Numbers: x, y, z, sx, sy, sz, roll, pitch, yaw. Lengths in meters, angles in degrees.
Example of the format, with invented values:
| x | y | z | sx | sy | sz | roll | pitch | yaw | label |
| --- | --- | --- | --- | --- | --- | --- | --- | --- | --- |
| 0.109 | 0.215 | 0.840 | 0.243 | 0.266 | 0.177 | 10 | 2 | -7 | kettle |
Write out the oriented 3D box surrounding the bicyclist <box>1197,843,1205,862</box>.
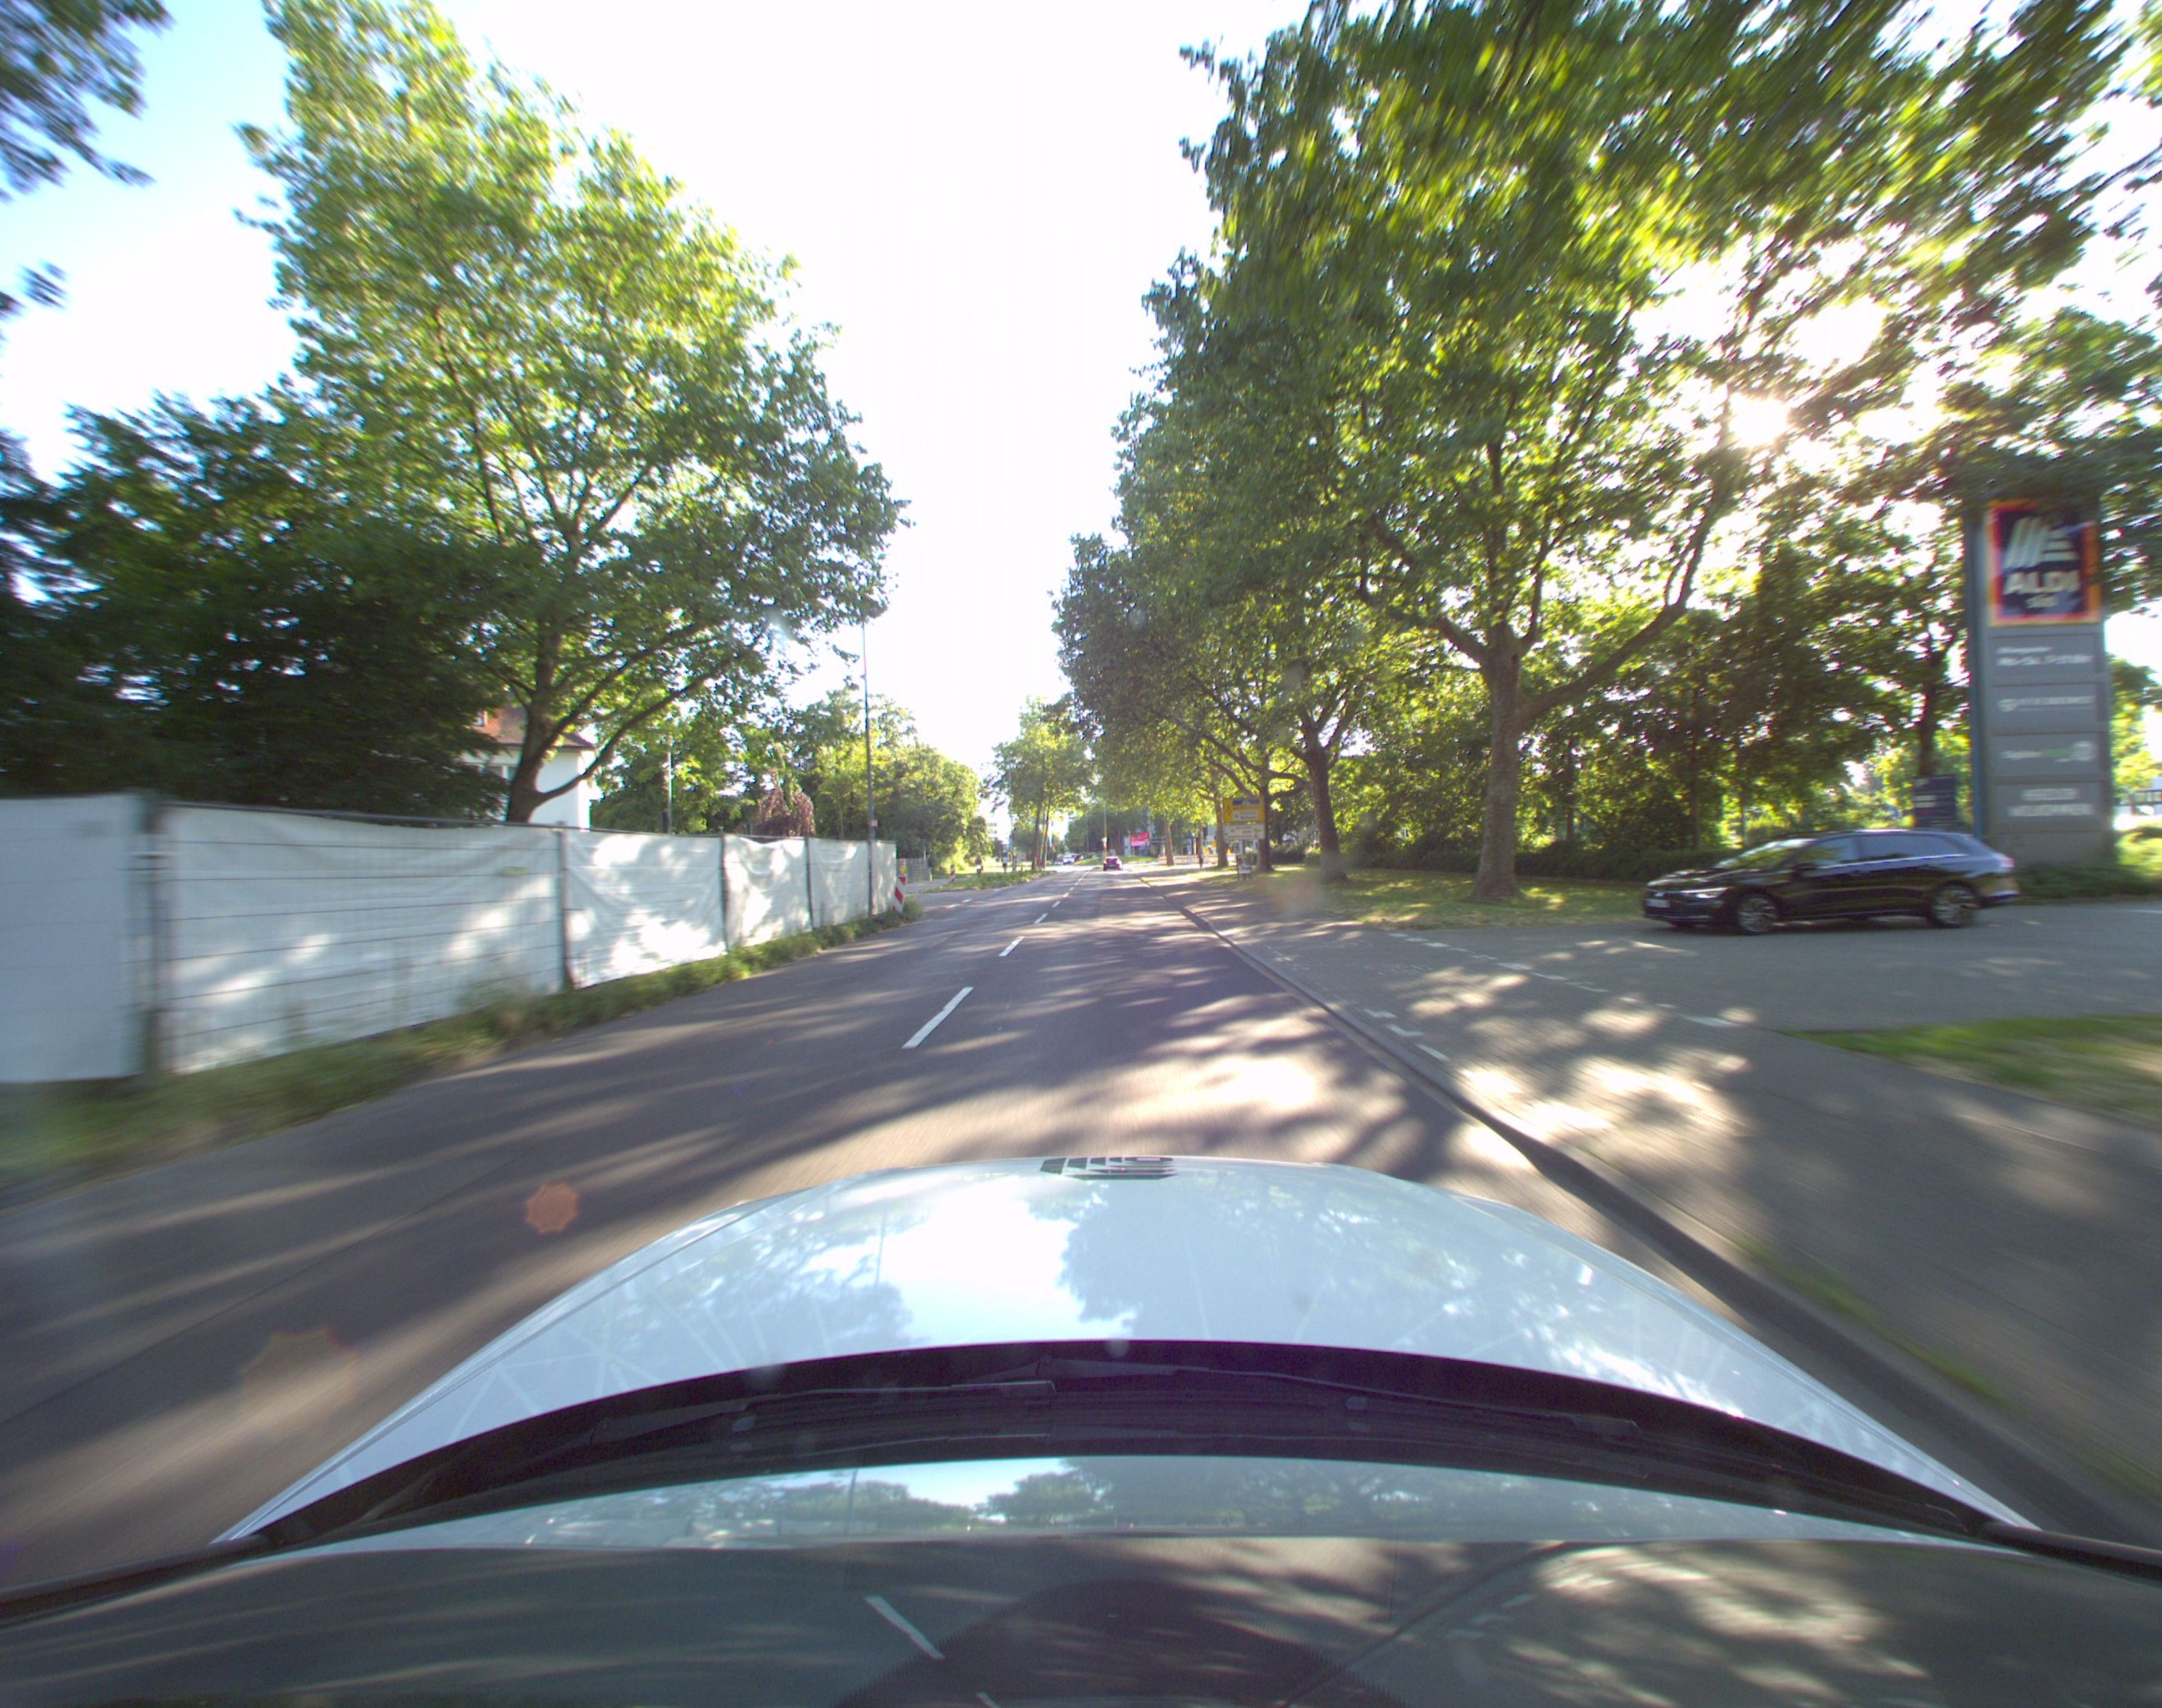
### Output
| x | y | z | sx | sy | sz | roll | pitch | yaw | label |
| --- | --- | --- | --- | --- | --- | --- | --- | --- | --- |
| 11.039 | -0.120 | 74.889 | 0.648 | 1.705 | 0.872 | 0 | 0 | 2 | bicyclist |

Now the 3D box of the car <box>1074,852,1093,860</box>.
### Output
| x | y | z | sx | sy | sz | roll | pitch | yaw | label |
| --- | --- | --- | --- | --- | --- | --- | --- | --- | --- |
| 0.556 | 0.467 | 187.786 | 4.010 | 1.747 | 1.779 | 0 | 0 | -28 | car |

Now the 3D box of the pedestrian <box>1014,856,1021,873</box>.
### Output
| x | y | z | sx | sy | sz | roll | pitch | yaw | label |
| --- | --- | --- | --- | --- | --- | --- | --- | --- | --- |
| -6.022 | 1.000 | 77.349 | 0.630 | 1.638 | 0.577 | -1 | 0 | 2 | pedestrian |

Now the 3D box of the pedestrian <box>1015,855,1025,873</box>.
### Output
| x | y | z | sx | sy | sz | roll | pitch | yaw | label |
| --- | --- | --- | --- | --- | --- | --- | --- | --- | --- |
| -5.884 | 0.959 | 78.494 | 0.745 | 1.739 | 0.852 | -1 | 0 | 3 | pedestrian |

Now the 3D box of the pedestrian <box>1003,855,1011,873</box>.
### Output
| x | y | z | sx | sy | sz | roll | pitch | yaw | label |
| --- | --- | --- | --- | --- | --- | --- | --- | --- | --- |
| -7.065 | 0.957 | 77.357 | 0.630 | 1.739 | 0.665 | -1 | 0 | 3 | pedestrian |

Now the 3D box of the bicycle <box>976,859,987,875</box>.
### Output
| x | y | z | sx | sy | sz | roll | pitch | yaw | label |
| --- | --- | --- | --- | --- | --- | --- | --- | --- | --- |
| -8.166 | 1.090 | 67.079 | 0.577 | 1.245 | 2.108 | -2 | 0 | 1 | bicycle |

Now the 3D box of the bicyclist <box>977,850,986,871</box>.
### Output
| x | y | z | sx | sy | sz | roll | pitch | yaw | label |
| --- | --- | --- | --- | --- | --- | --- | --- | --- | --- |
| -8.184 | 0.548 | 67.104 | 0.577 | 1.679 | 0.971 | -2 | 0 | 1 | bicyclist |

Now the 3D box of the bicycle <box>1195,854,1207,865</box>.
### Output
| x | y | z | sx | sy | sz | roll | pitch | yaw | label |
| --- | --- | --- | --- | --- | --- | --- | --- | --- | --- |
| 11.041 | 0.481 | 74.807 | 0.767 | 0.964 | 2.175 | -3 | -1 | 2 | bicycle |

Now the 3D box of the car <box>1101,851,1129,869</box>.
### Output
| x | y | z | sx | sy | sz | roll | pitch | yaw | label |
| --- | --- | --- | --- | --- | --- | --- | --- | --- | --- |
| 3.444 | 0.583 | 81.985 | 1.825 | 1.605 | 3.879 | -3 | 0 | 16 | car |

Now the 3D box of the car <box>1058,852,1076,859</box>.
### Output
| x | y | z | sx | sy | sz | roll | pitch | yaw | label |
| --- | --- | --- | --- | --- | --- | --- | --- | --- | --- |
| -3.352 | 0.436 | 198.782 | 4.010 | 1.747 | 1.779 | 0 | 0 | -28 | car |

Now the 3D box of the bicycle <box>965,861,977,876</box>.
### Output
| x | y | z | sx | sy | sz | roll | pitch | yaw | label |
| --- | --- | --- | --- | --- | --- | --- | --- | --- | --- |
| -9.294 | 1.250 | 69.031 | 0.577 | 1.186 | 2.032 | -5 | 0 | 1 | bicycle |

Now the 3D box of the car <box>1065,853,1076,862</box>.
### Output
| x | y | z | sx | sy | sz | roll | pitch | yaw | label |
| --- | --- | --- | --- | --- | --- | --- | --- | --- | --- |
| -2.042 | 0.642 | 152.988 | 1.989 | 1.578 | 3.996 | -1 | 0 | -2 | car |

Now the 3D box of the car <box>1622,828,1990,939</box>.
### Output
| x | y | z | sx | sy | sz | roll | pitch | yaw | label |
| --- | --- | --- | --- | --- | --- | --- | --- | --- | --- |
| 10.952 | 0.432 | 12.565 | 3.968 | 1.443 | 1.763 | -2 | 0 | 4 | car |
